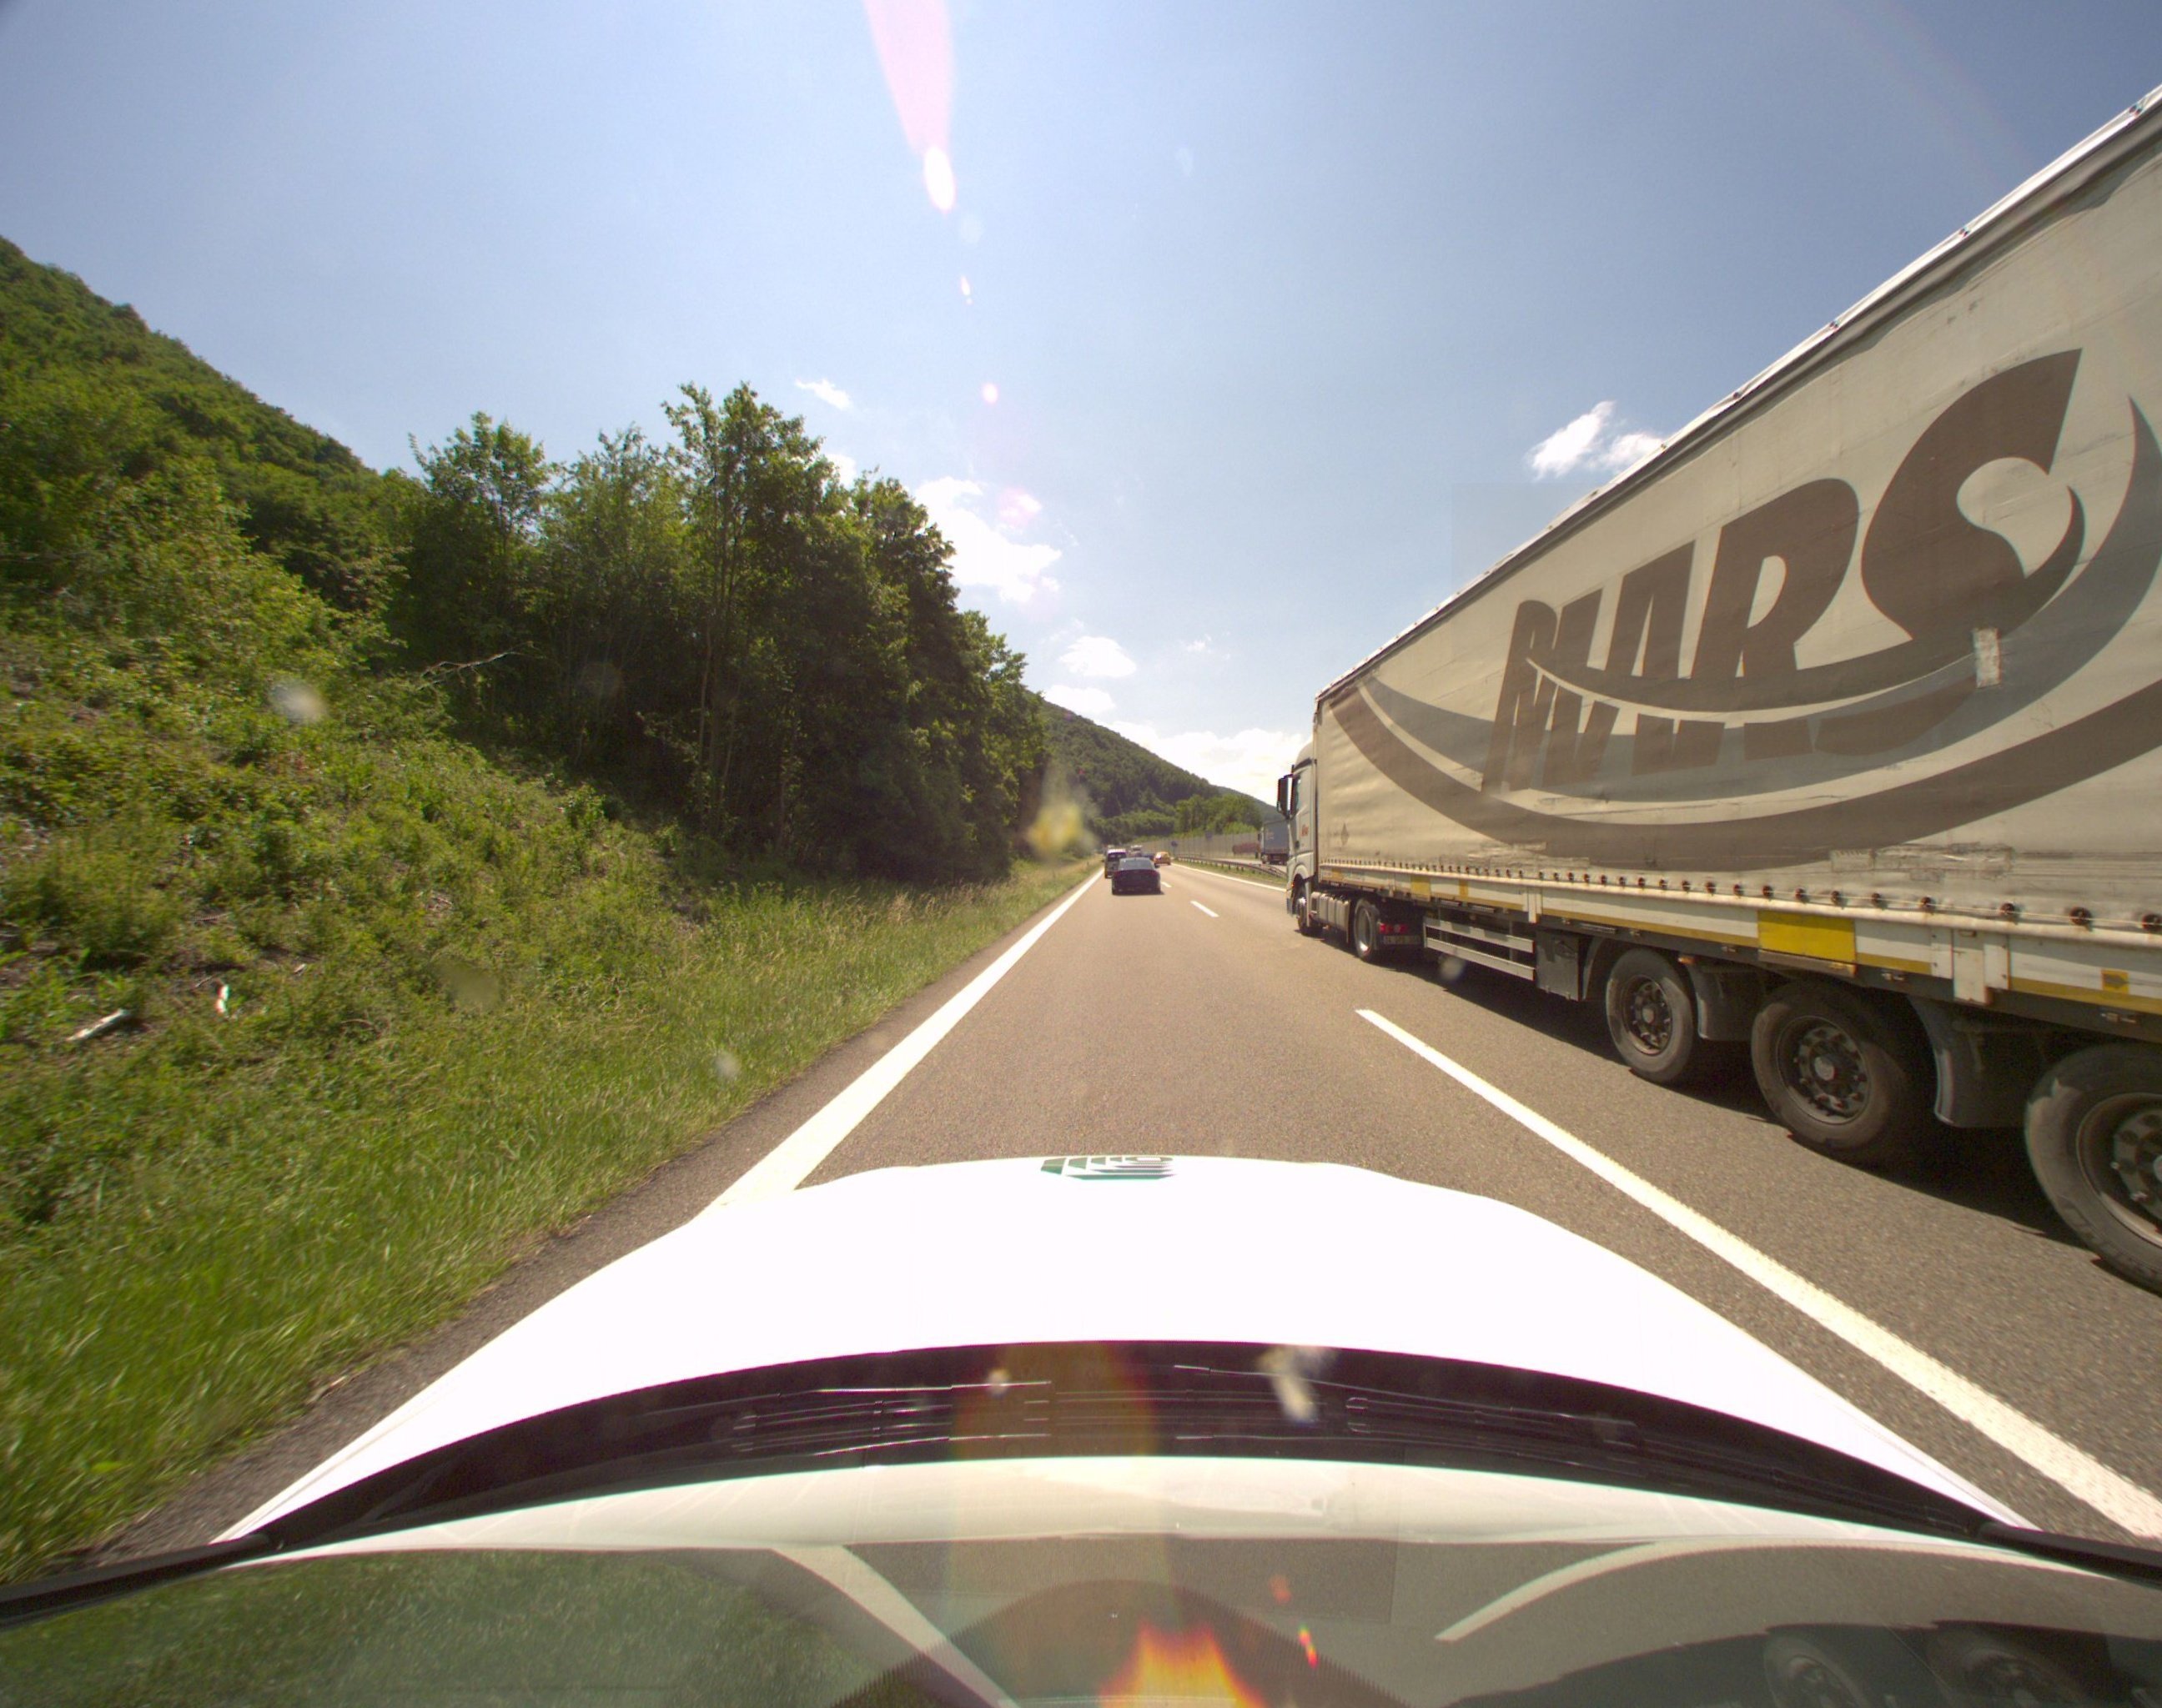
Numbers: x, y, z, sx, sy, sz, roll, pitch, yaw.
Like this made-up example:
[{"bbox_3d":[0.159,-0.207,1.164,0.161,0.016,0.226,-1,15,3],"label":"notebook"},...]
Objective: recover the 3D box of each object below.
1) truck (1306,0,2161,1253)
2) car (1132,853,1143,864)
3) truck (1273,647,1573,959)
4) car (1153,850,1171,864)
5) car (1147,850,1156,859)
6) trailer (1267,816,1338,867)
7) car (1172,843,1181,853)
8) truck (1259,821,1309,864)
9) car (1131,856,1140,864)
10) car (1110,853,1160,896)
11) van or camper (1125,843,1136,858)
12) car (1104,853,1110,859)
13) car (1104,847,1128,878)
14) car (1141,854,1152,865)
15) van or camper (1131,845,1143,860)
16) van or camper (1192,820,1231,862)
[{"bbox_3d":[4.913,-0.714,6.707,2.716,4.068,13.745,0,-1,2],"label":"truck"},{"bbox_3d":[10.951,0.850,158.635,2.078,2.014,4.002,1,-1,2],"label":"car"},{"bbox_3d":[5.127,-0.635,13.506,2.709,4.068,5.756,0,-1,2],"label":"truck"},{"bbox_3d":[9.163,0.319,92.432,1.871,1.499,4.003,0,0,3],"label":"car"},{"bbox_3d":[16.987,0.138,195.673,1.986,2.013,4.001,-1,0,1],"label":"car"},{"bbox_3d":[18.487,-0.994,69.006,3.398,3.900,11.157,0,0,2],"label":"trailer"},{"bbox_3d":[18.416,-1.131,157.375,1.570,2.013,3.430,-1,0,3],"label":"car"},{"bbox_3d":[18.732,-1.033,75.507,3.398,3.900,5.390,0,0,2],"label":"truck"},{"bbox_3d":[9.595,1.063,143.460,1.524,1.525,3.599,1,-1,3],"label":"car"},{"bbox_3d":[2.068,0.762,32.115,1.805,1.514,3.516,-2,0,2],"label":"car"},{"bbox_3d":[13.236,-0.939,218.894,2.785,3.907,6.167,1,-1,1],"label":"van or camper"},{"bbox_3d":[6.829,0.564,211.027,1.483,1.496,3.592,1,-1,3],"label":"car"},{"bbox_3d":[2.326,0.546,54.554,1.515,1.968,3.516,2,0,2],"label":"car"},{"bbox_3d":[9.587,0.796,119.710,1.524,1.525,3.599,1,-1,3],"label":"car"},{"bbox_3d":[11.897,-0.252,173.094,2.419,3.155,5.207,1,-1,3],"label":"van or camper"},{"bbox_3d":[12.426,-1.150,77.981,2.785,3.841,6.167,1,-1,1],"label":"van or camper"}]
